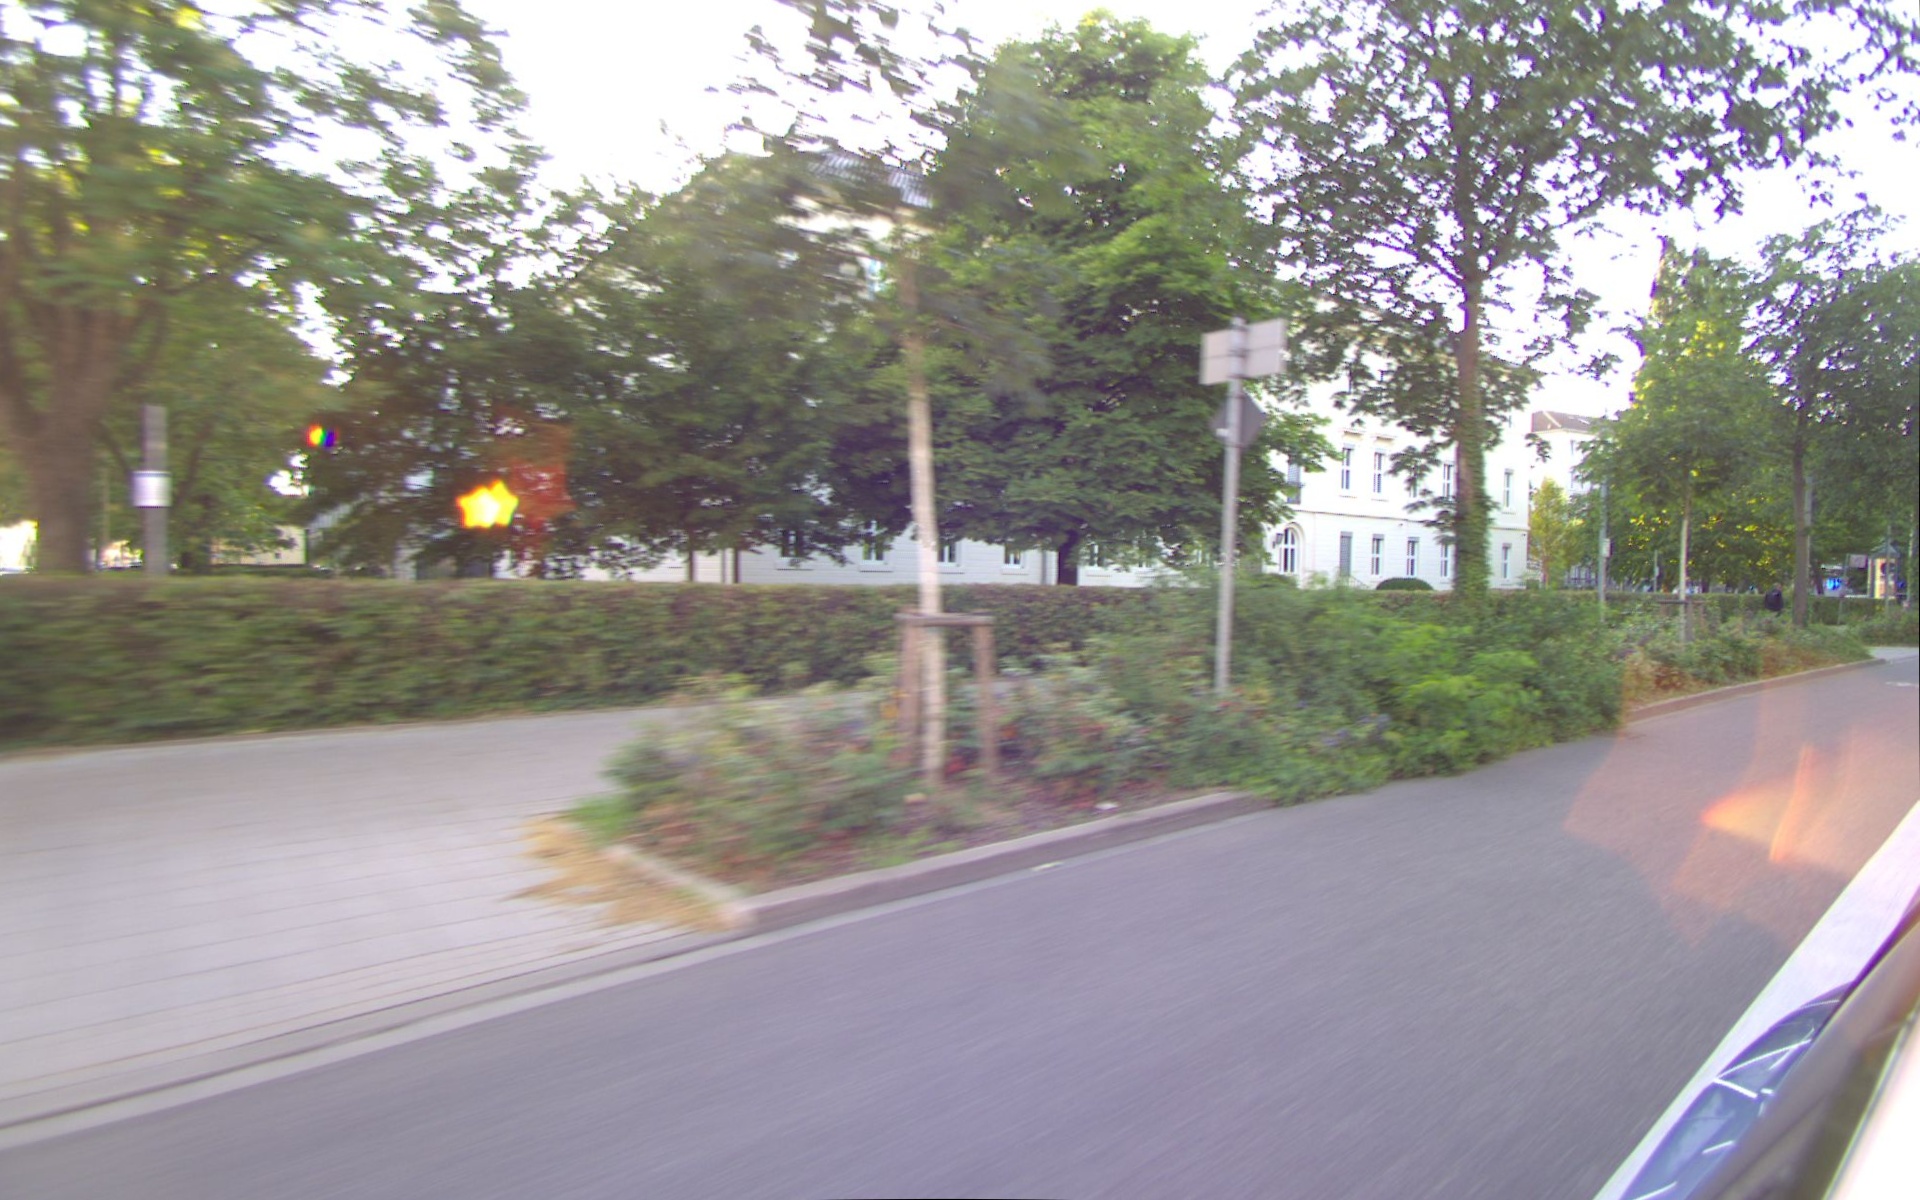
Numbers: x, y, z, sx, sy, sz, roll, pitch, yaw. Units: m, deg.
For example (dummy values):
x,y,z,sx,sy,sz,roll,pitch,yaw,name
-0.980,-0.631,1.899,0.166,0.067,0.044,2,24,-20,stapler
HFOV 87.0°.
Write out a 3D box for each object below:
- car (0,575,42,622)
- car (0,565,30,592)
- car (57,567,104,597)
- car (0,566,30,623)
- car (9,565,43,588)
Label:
x,y,z,sx,sy,sz,roll,pitch,yaw,name
-34.216,-0.083,36.237,1.729,1.555,3.716,-1,2,-38,car
-74.663,-1.673,79.548,1.963,2.039,3.998,0,1,-37,car
-48.036,-0.997,55.314,1.729,1.555,3.716,-1,2,-38,car
-27.910,-0.186,28.850,1.729,1.555,3.716,-1,2,-38,car
-85.409,-2.128,92.584,1.964,2.039,3.996,0,0,-38,car
